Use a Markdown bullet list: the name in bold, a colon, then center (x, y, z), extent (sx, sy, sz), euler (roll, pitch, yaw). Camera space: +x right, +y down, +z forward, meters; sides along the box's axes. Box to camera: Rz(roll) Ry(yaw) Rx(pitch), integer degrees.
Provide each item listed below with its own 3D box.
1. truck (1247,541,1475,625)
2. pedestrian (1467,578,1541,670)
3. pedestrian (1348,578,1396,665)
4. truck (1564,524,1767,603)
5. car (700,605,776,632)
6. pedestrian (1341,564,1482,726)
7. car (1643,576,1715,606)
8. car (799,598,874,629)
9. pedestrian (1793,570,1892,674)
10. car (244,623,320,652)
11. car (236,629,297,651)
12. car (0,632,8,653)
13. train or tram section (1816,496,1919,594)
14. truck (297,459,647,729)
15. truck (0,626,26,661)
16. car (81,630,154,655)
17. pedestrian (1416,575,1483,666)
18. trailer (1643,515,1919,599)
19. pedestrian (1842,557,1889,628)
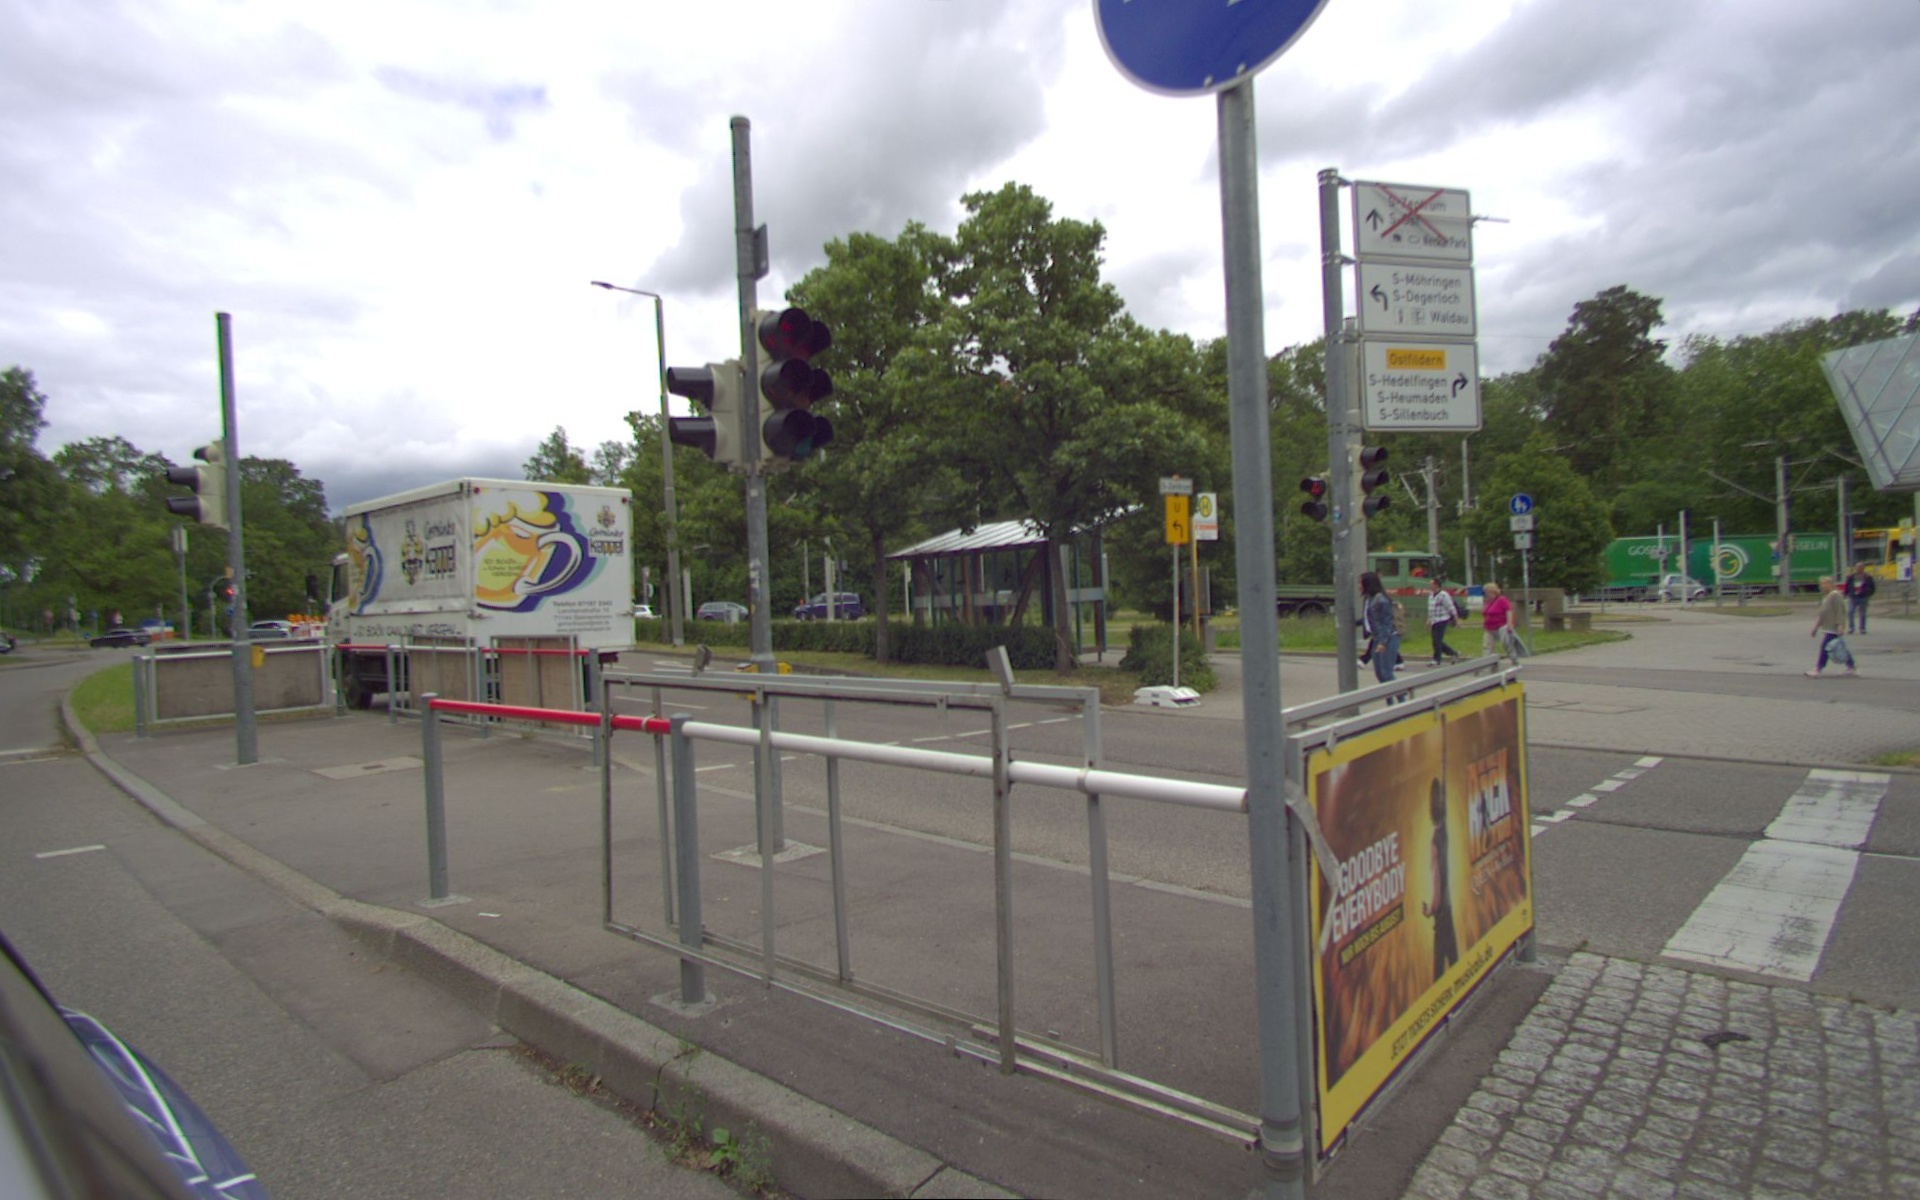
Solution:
- **truck**: center (12.206, -0.493, 31.370), extent (6.250, 2.186, 2.592), euler (-3, 1, 18)
- **pedestrian**: center (9.753, 0.414, 18.149), extent (0.762, 1.563, 0.794), euler (-3, 1, -16)
- **pedestrian**: center (7.700, 0.392, 18.906), extent (0.627, 1.557, 0.767), euler (-1, 2, 39)
- **truck**: center (40.552, -2.065, 58.523), extent (8.673, 3.910, 3.778), euler (-3, 1, 9)
- **car**: center (-14.050, 1.182, 64.141), extent (4.341, 1.447, 1.792), euler (-3, 1, 9)
- **pedestrian**: center (5.015, 0.464, 11.278), extent (0.896, 1.689, 1.097), euler (-1, 0, -33)
- **car**: center (39.185, -0.511, 55.200), extent (2.714, 1.486, 1.495), euler (-3, 1, 10)
- **car**: center (-8.658, 0.937, 71.066), extent (4.780, 1.829, 1.994), euler (-3, 1, 10)
- **pedestrian**: center (13.592, 0.322, 15.620), extent (0.869, 1.536, 0.763), euler (-3, 1, 19)
- **car**: center (-46.477, 2.557, 69.396), extent (3.933, 1.652, 1.895), euler (-3, 1, 5)
- **car**: center (-53.858, 3.086, 78.621), extent (3.801, 1.346, 1.659), euler (-3, 5, 12)
- **car**: center (-83.148, 3.741, 85.470), extent (4.433, 1.740, 1.990), euler (-3, 1, 16)
- **train or tram section**: center (53.093, -3.074, 49.389), extent (18.446, 4.567, 3.582), euler (-3, 1, 5)
- **truck**: center (-7.562, -0.018, 15.287), extent (6.204, 3.263, 2.601), euler (-1, -1, 42)
- **truck**: center (-95.648, 4.353, 100.911), extent (2.703, 3.235, 6.689), euler (-4, 1, -35)
- **car**: center (-67.176, 3.371, 80.743), extent (4.394, 1.607, 1.879), euler (-3, 1, 4)
- **pedestrian**: center (9.414, 0.390, 19.487), extent (0.857, 1.678, 0.686), euler (-3, 1, -5)
- **trailer**: center (46.295, -2.357, 57.509), extent (11.735, 3.910, 3.778), euler (-3, 1, 9)
- **pedestrian**: center (21.360, -0.177, 23.876), extent (0.769, 1.637, 0.774), euler (-2, 1, 43)
